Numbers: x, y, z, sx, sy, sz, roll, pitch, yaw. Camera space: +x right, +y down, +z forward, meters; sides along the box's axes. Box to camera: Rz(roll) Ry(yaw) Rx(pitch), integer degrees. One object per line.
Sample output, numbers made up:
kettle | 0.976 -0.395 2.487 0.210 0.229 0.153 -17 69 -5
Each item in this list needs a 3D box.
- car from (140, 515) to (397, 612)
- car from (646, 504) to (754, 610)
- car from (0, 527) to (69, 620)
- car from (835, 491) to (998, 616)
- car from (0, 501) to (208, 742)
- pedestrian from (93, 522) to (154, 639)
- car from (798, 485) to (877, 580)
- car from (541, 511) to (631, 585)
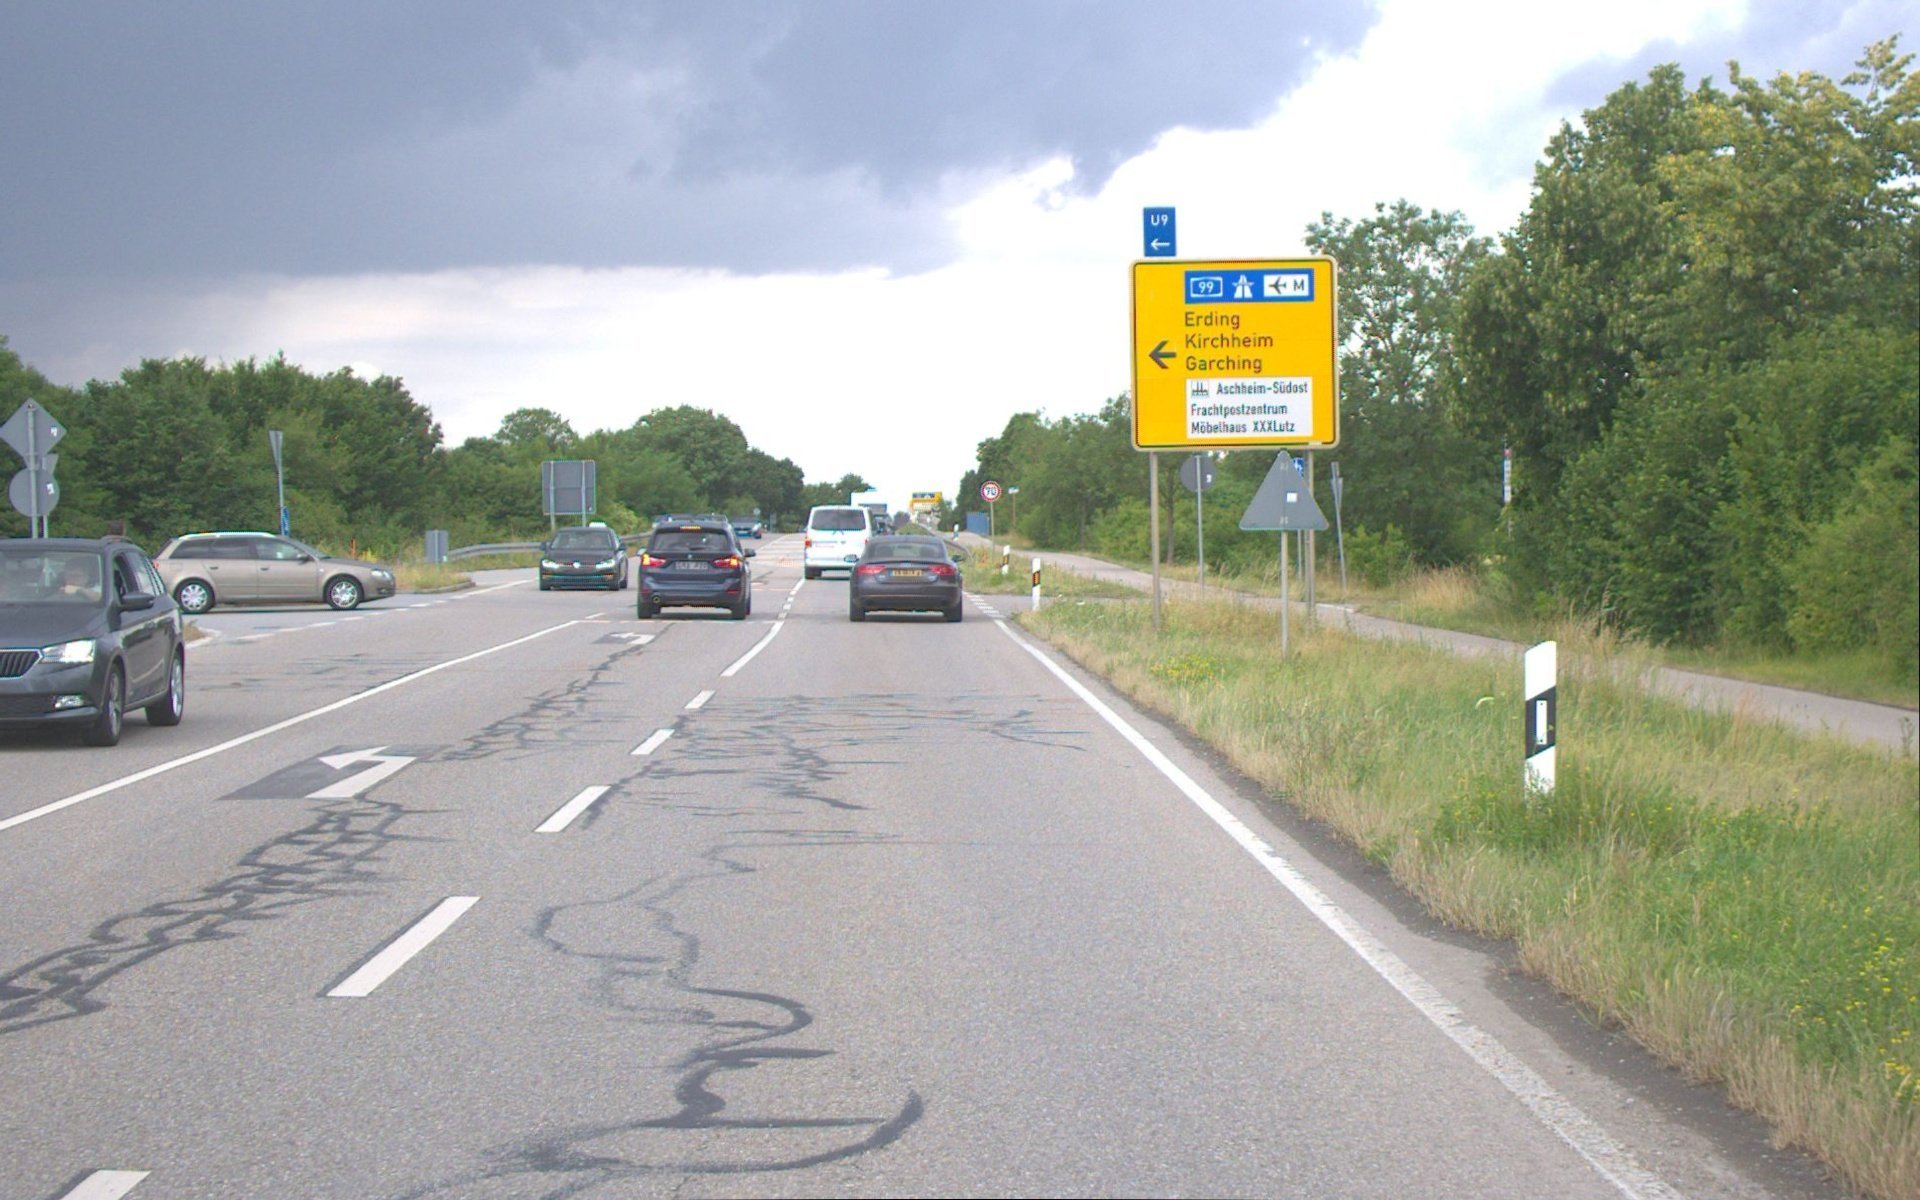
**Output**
car | -12.522 -0.663 62.406 4.412 1.643 1.502 -1 1 -6
car | -4.332 -0.730 57.738 1.571 1.695 4.000 -1 1 -1
car | -18.444 -0.443 61.878 4.412 1.643 1.502 -1 1 -4
car | -0.765 -0.771 56.534 2.371 1.874 4.478 -3 1 -4
car | -6.861 0.120 25.244 1.853 1.624 4.000 -1 1 -1
pedestrian | -11.342 -0.262 46.621 0.367 1.570 0.702 -1 1 35
car | -3.265 -1.808 92.504 1.999 2.443 4.852 -1 1 -1
car | -8.459 -1.186 78.037 1.646 1.585 4.000 -1 1 -1
